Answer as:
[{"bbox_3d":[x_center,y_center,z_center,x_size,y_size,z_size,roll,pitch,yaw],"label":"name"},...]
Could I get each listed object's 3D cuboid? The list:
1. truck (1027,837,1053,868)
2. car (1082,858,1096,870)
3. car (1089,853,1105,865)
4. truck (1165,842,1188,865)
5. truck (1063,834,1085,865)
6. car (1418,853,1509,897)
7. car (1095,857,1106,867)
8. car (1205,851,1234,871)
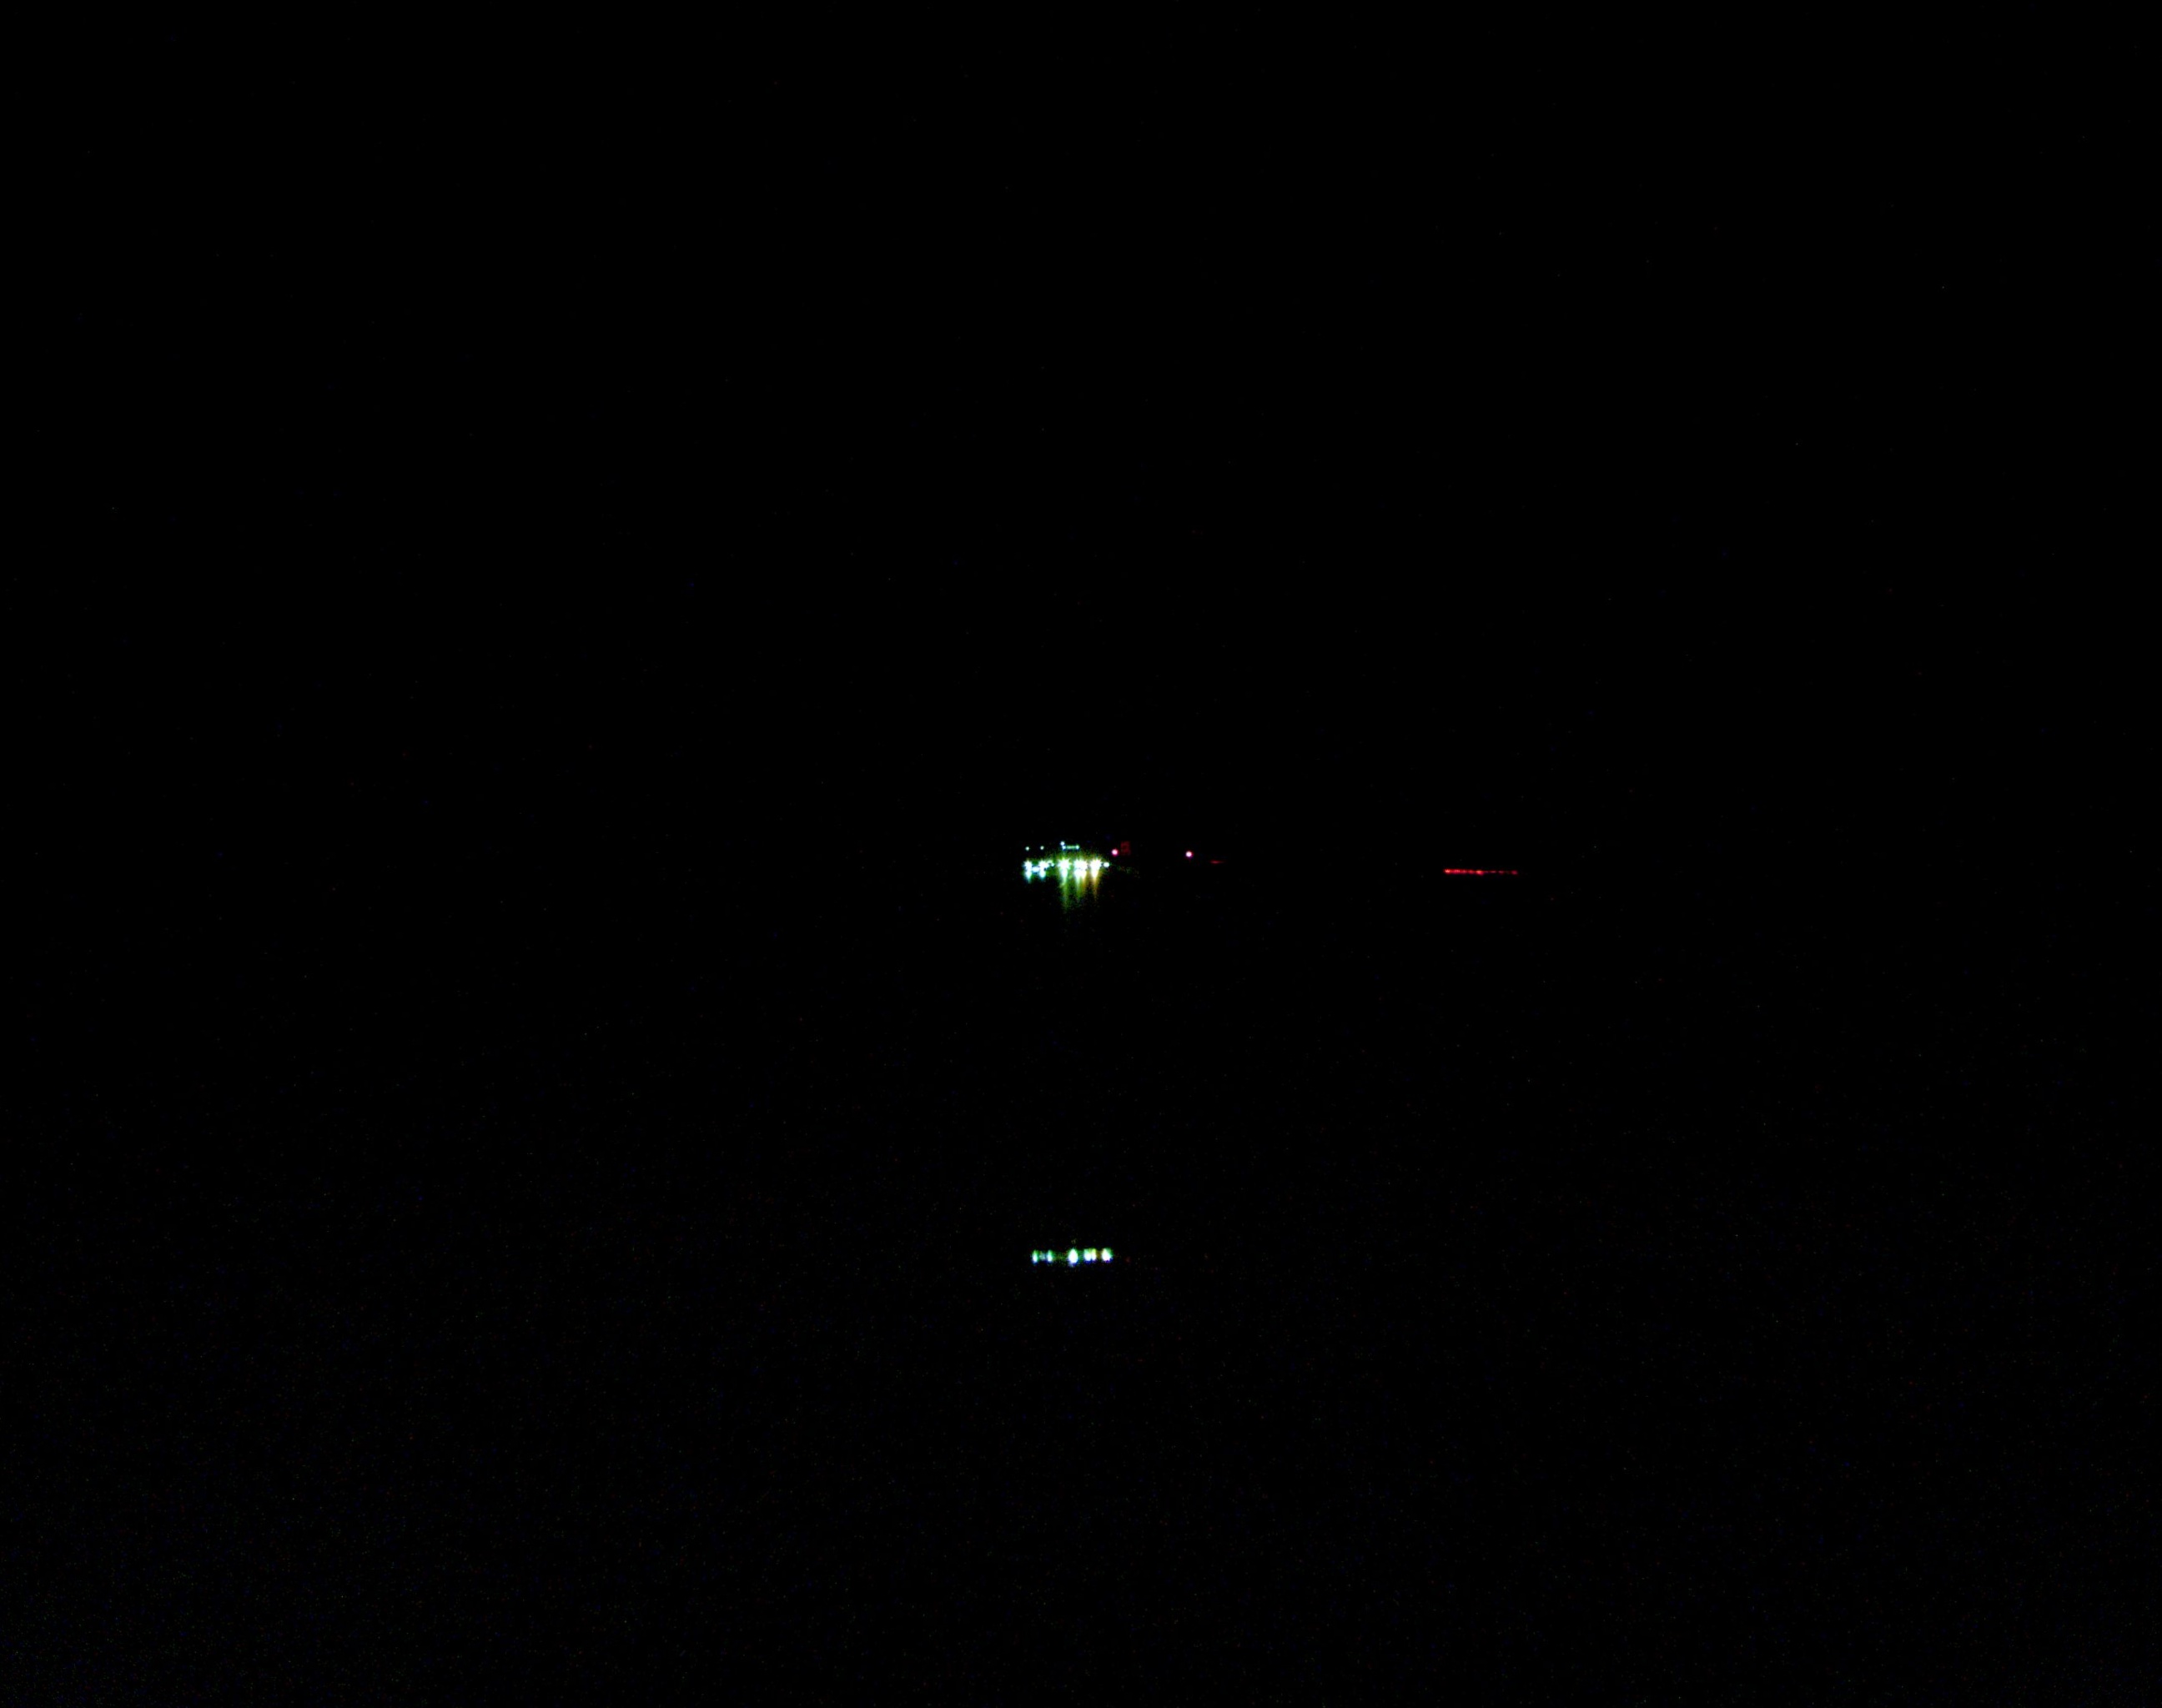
[{"bbox_3d":[-5.688,-0.181,106.539,2.597,4.048,7.675,-3,-1,3],"label":"truck"},{"bbox_3d":[1.018,1.259,94.279,1.701,1.379,3.502,-3,-1,1],"label":"car"},{"bbox_3d":[2.028,0.631,95.405,1.825,1.457,4.249,-3,-1,4],"label":"car"},{"bbox_3d":[18.979,0.005,152.257,3.120,4.178,16.983,1,-1,2],"label":"truck"},{"bbox_3d":[-0.972,-0.598,111.710,2.668,4.181,6.724,-3,-1,3],"label":"truck"},{"bbox_3d":[16.222,0.837,32.523,1.642,1.542,4.469,-3,2,0],"label":"car"},{"bbox_3d":[5.569,2.225,215.461,2.859,2.795,5.942,-3,-1,3],"label":"car"},{"bbox_3d":[13.186,0.654,72.628,1.796,1.674,5.168,-3,2,0],"label":"car"}]
